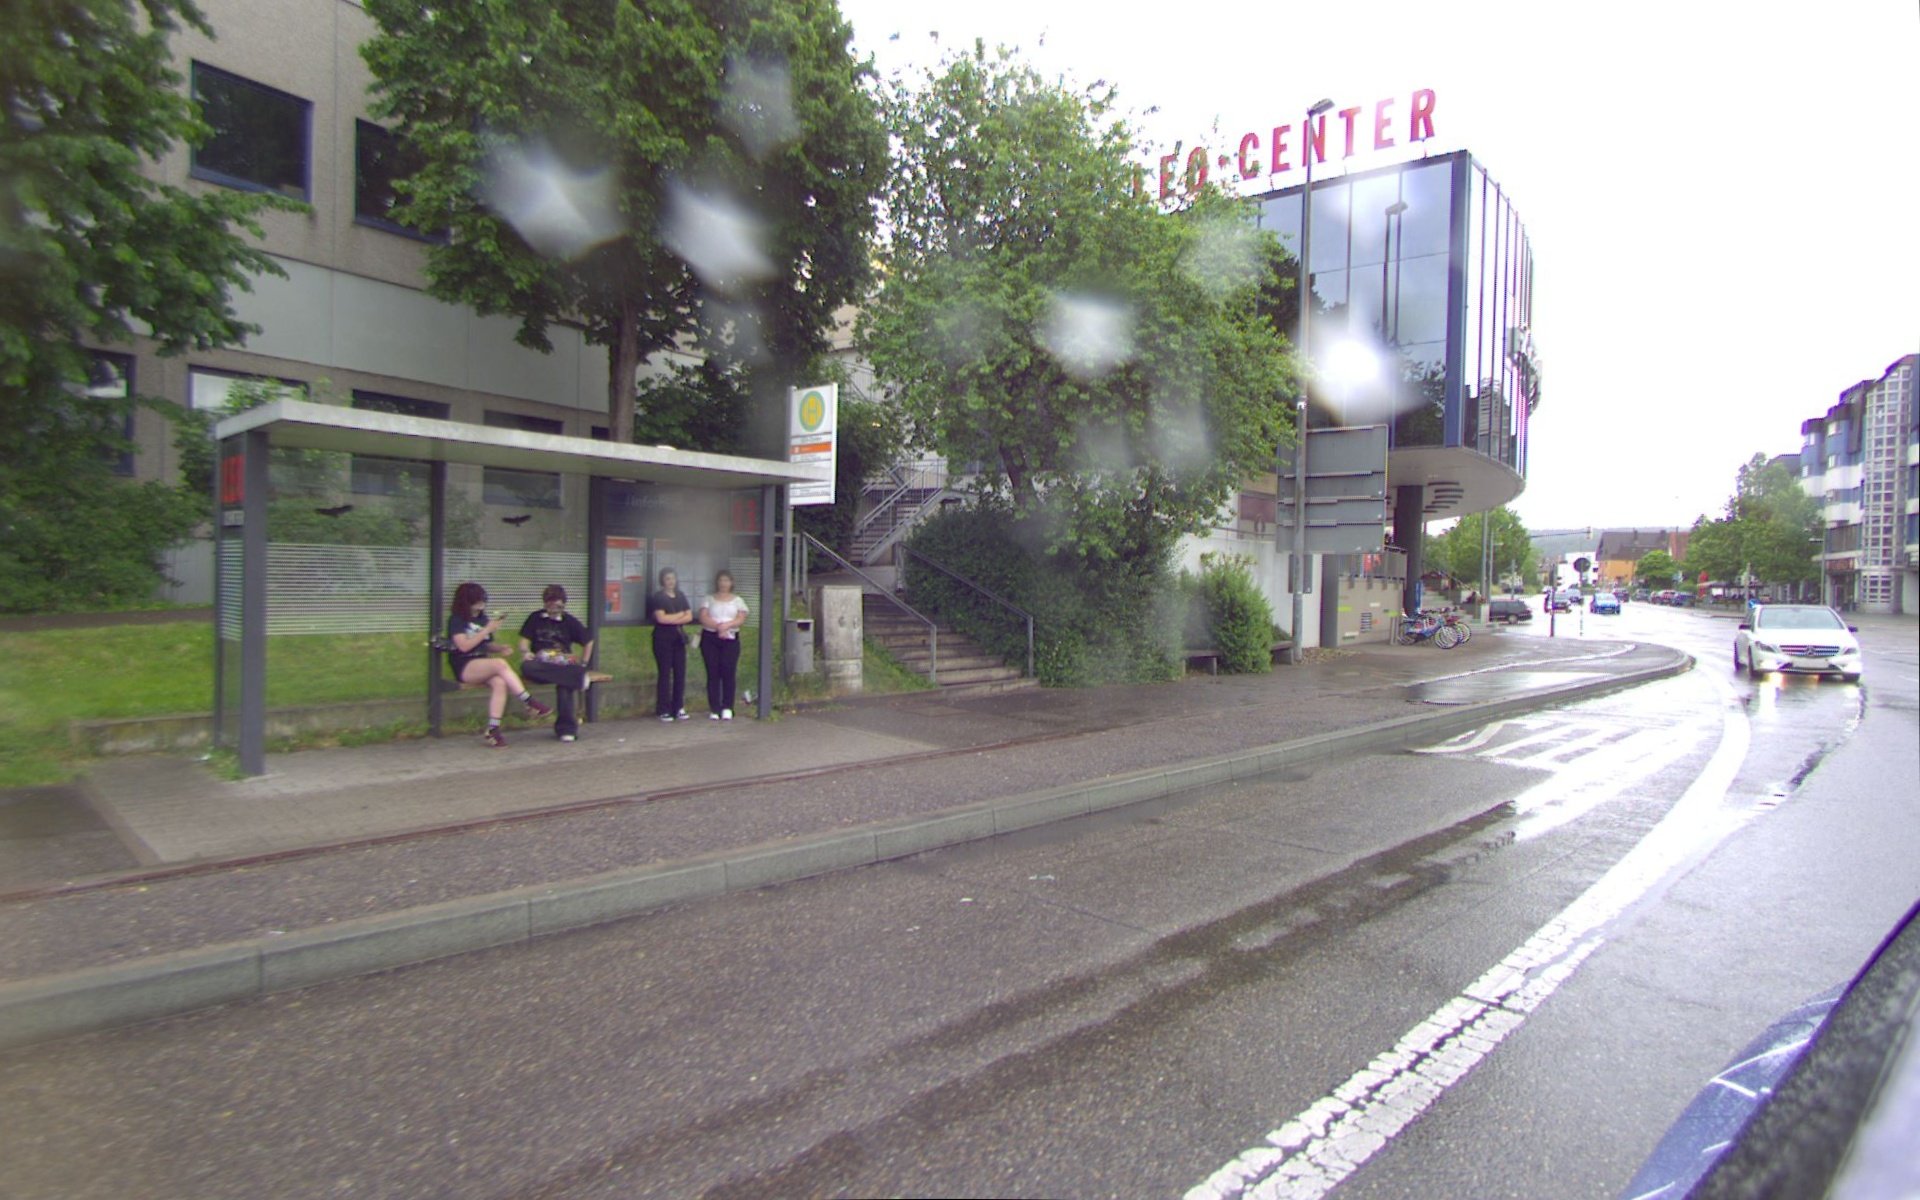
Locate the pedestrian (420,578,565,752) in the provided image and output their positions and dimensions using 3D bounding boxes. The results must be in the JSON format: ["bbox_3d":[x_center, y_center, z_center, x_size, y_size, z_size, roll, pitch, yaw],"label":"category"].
[{"bbox_3d":[-3.887,0.499,8.404,1.028,1.297,0.682,4,2,40],"label":"pedestrian"}]

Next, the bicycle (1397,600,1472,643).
[{"bbox_3d":[13.622,0.605,29.058,1.799,1.098,0.675,4,1,39],"label":"bicycle"}]

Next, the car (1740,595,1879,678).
[{"bbox_3d":[18.269,0.709,21.947,1.750,1.569,4.276,1,1,33],"label":"car"}]

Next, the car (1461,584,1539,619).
[{"bbox_3d":[33.137,0.073,62.228,4.152,2.039,1.779,1,1,28],"label":"car"}]

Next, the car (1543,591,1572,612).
[{"bbox_3d":[46.880,0.107,79.437,1.886,1.545,3.957,1,1,30],"label":"car"}]

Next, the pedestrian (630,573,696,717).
[{"bbox_3d":[-2.968,0.442,10.133,0.532,1.382,0.412,3,2,-7],"label":"pedestrian"}]

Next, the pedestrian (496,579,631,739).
[{"bbox_3d":[-3.567,0.493,9.093,1.028,1.297,0.682,4,2,40],"label":"pedestrian"}]

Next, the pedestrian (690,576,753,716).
[{"bbox_3d":[-2.435,0.462,10.357,0.532,1.382,0.412,3,2,-7],"label":"pedestrian"}]

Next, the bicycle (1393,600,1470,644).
[{"bbox_3d":[13.244,0.602,28.452,1.808,1.124,0.684,4,2,40],"label":"bicycle"}]

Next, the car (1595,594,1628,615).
[{"bbox_3d":[49.291,0.298,76.595,1.886,1.545,3.957,1,1,30],"label":"car"}]

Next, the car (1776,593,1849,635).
[{"bbox_3d":[32.813,0.528,39.029,1.621,1.509,3.795,1,0,32],"label":"car"}]

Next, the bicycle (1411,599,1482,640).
[{"bbox_3d":[14.901,0.566,31.004,1.827,1.124,0.684,4,3,40],"label":"bicycle"}]

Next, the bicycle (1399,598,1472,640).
[{"bbox_3d":[14.027,0.544,29.880,1.808,1.124,0.684,4,2,40],"label":"bicycle"}]

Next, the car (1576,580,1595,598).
[{"bbox_3d":[61.255,-1.088,99.136,1.571,1.660,3.601,1,1,31],"label":"car"}]
